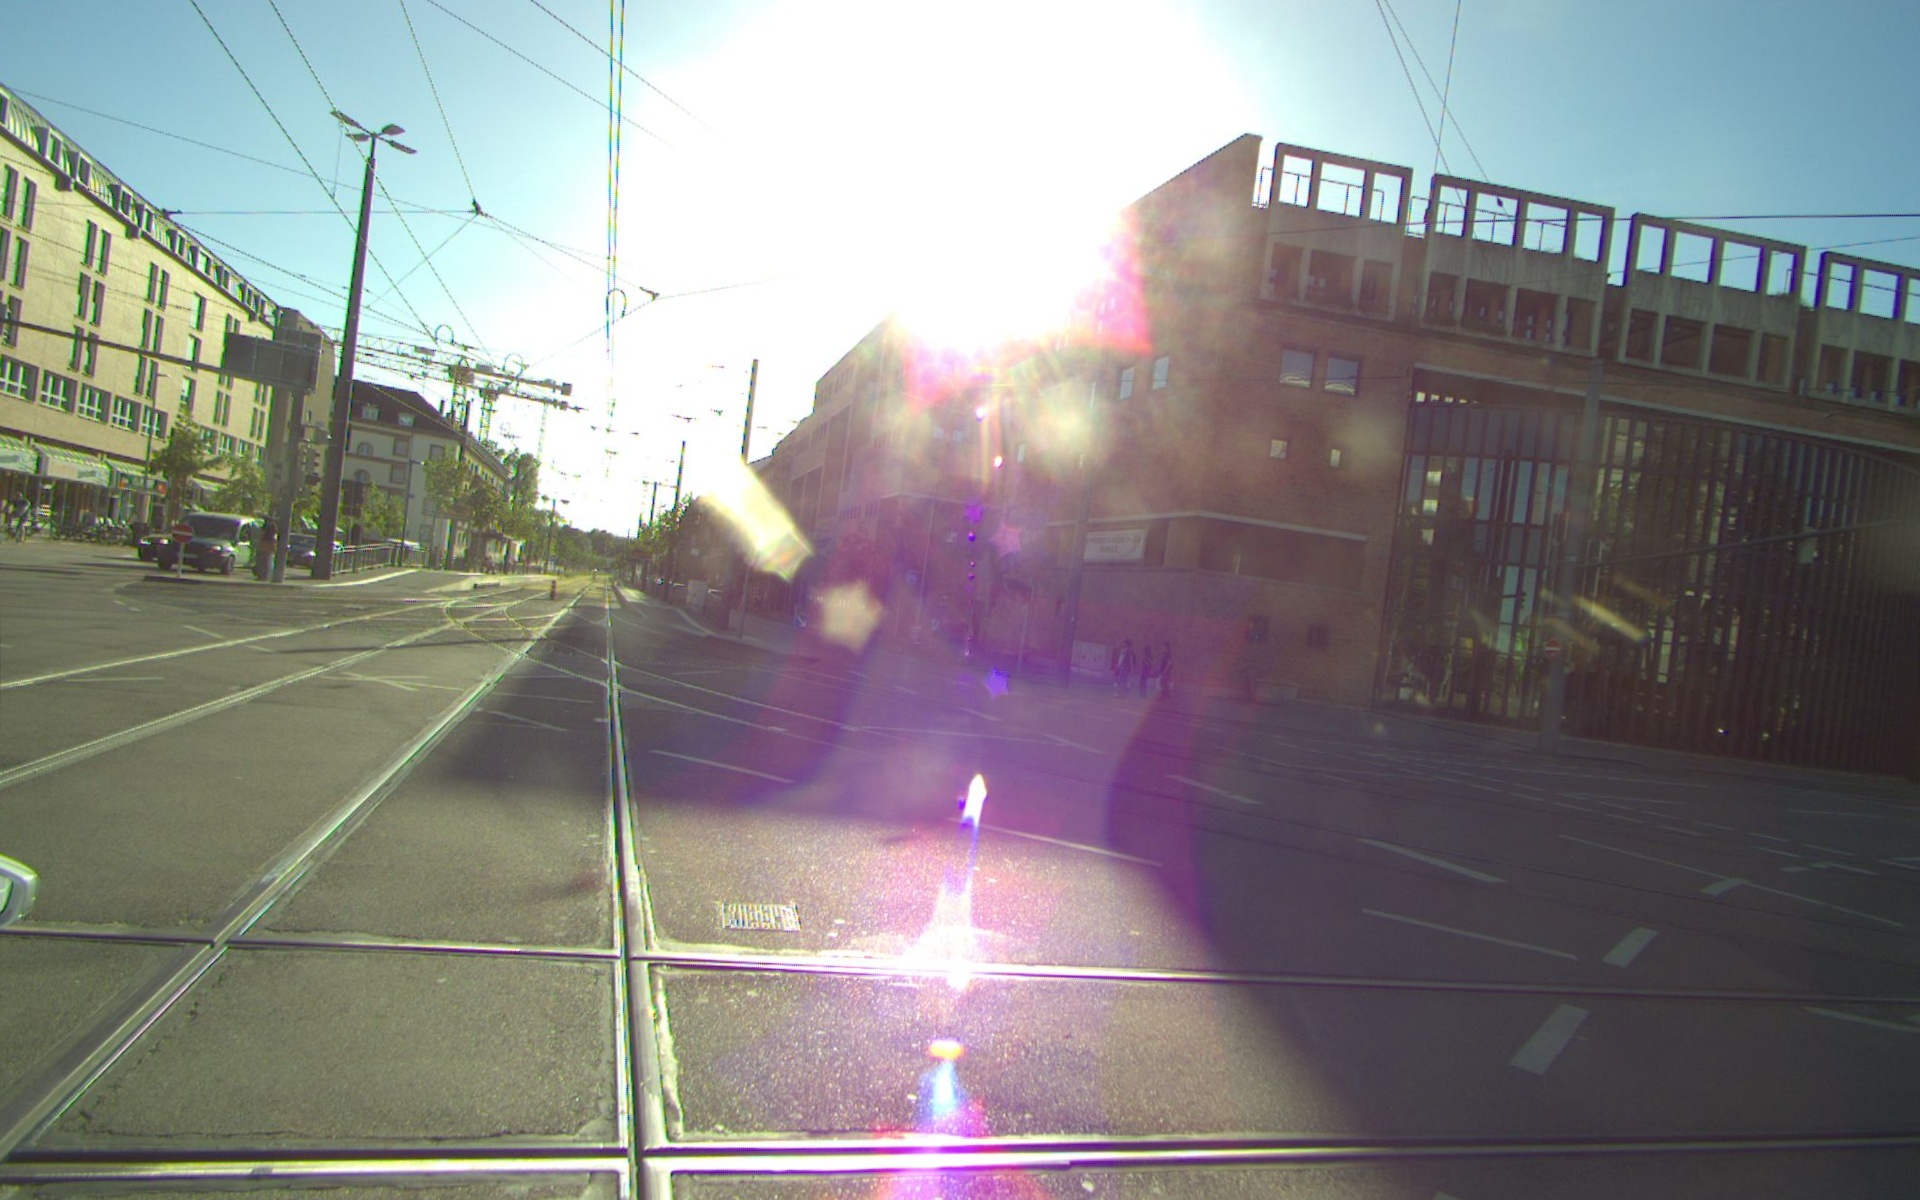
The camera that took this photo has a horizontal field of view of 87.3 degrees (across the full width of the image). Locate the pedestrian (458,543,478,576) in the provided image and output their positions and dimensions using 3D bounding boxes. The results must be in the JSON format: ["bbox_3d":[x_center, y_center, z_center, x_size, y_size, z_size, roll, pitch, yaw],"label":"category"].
[{"bbox_3d":[-30.657,-2.524,62.641,0.854,1.909,0.731,8,1,-29],"label":"pedestrian"}]

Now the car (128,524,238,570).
[{"bbox_3d":[-27.315,-1.829,35.540,1.819,1.284,4.211,6,-1,-21],"label":"car"}]

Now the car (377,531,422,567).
[{"bbox_3d":[-53.119,-4.813,95.476,2.353,3.035,8.427,7,0,-21],"label":"car"}]

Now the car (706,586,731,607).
[{"bbox_3d":[-19.018,-0.298,79.158,1.541,1.473,3.420,7,-1,-17],"label":"car"}]

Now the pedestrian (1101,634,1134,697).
[{"bbox_3d":[4.756,1.973,30.416,0.566,1.808,0.545,6,0,-27],"label":"pedestrian"}]

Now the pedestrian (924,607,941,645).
[{"bbox_3d":[-1.392,1.315,50.963,0.541,1.809,0.571,7,3,-16],"label":"pedestrian"}]

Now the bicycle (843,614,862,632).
[{"bbox_3d":[-6.800,1.443,63.437,0.641,0.915,2.337,7,-1,-17],"label":"bicycle"}]

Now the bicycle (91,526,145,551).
[{"bbox_3d":[-41.258,-3.023,49.303,2.005,0.932,0.482,7,0,-9],"label":"bicycle"}]

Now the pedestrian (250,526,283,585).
[{"bbox_3d":[-19.772,-1.280,28.700,0.576,1.596,0.641,7,0,-32],"label":"pedestrian"}]

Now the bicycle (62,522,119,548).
[{"bbox_3d":[-41.420,-3.089,47.931,2.005,0.932,0.482,7,0,-9],"label":"bicycle"}]

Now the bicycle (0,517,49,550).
[{"bbox_3d":[-33.225,-2.341,35.375,0.801,1.003,2.498,7,-1,-20],"label":"bicycle"}]

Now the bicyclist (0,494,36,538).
[{"bbox_3d":[-33.061,-2.933,35.108,0.801,1.394,0.921,7,0,-20],"label":"bicyclist"}]

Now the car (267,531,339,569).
[{"bbox_3d":[-31.221,-2.344,47.918,1.819,1.466,4.279,6,-1,-20],"label":"car"}]

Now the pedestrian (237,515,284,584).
[{"bbox_3d":[-18.732,-1.345,26.948,0.713,1.748,0.592,7,0,-18],"label":"pedestrian"}]

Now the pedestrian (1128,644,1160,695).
[{"bbox_3d":[5.739,2.167,31.384,0.544,1.495,0.567,7,1,-37],"label":"pedestrian"}]

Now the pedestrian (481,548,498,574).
[{"bbox_3d":[-32.955,-2.709,70.501,0.854,1.691,0.731,8,1,-29],"label":"pedestrian"}]

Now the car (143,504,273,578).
[{"bbox_3d":[-22.289,-1.687,30.019,1.818,1.858,4.090,6,0,-19],"label":"car"}]

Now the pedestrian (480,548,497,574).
[{"bbox_3d":[-33.353,-2.753,71.203,0.854,1.691,0.778,8,1,-29],"label":"pedestrian"}]

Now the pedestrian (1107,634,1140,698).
[{"bbox_3d":[4.850,1.959,29.810,0.566,1.808,0.545,6,0,-27],"label":"pedestrian"}]

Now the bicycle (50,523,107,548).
[{"bbox_3d":[-40.954,-2.986,46.757,2.005,0.855,0.482,7,0,-9],"label":"bicycle"}]

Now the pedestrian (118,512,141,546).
[{"bbox_3d":[-47.134,-4.024,57.123,0.708,1.786,0.563,6,0,-16],"label":"pedestrian"}]

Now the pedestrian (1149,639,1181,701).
[{"bbox_3d":[6.271,2.137,30.823,0.566,1.808,0.545,6,0,-27],"label":"pedestrian"}]

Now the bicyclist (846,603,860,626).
[{"bbox_3d":[-6.751,0.933,63.490,0.638,1.355,0.650,7,0,-18],"label":"bicyclist"}]

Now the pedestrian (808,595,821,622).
[{"bbox_3d":[-10.489,0.614,72.528,0.633,1.808,0.686,6,0,-18],"label":"pedestrian"}]

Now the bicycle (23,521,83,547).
[{"bbox_3d":[-40.619,-2.963,45.077,2.005,0.855,0.482,7,0,-9],"label":"bicycle"}]

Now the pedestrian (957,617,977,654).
[{"bbox_3d":[0.343,1.774,50.419,0.632,1.808,0.686,6,0,-16],"label":"pedestrian"}]
